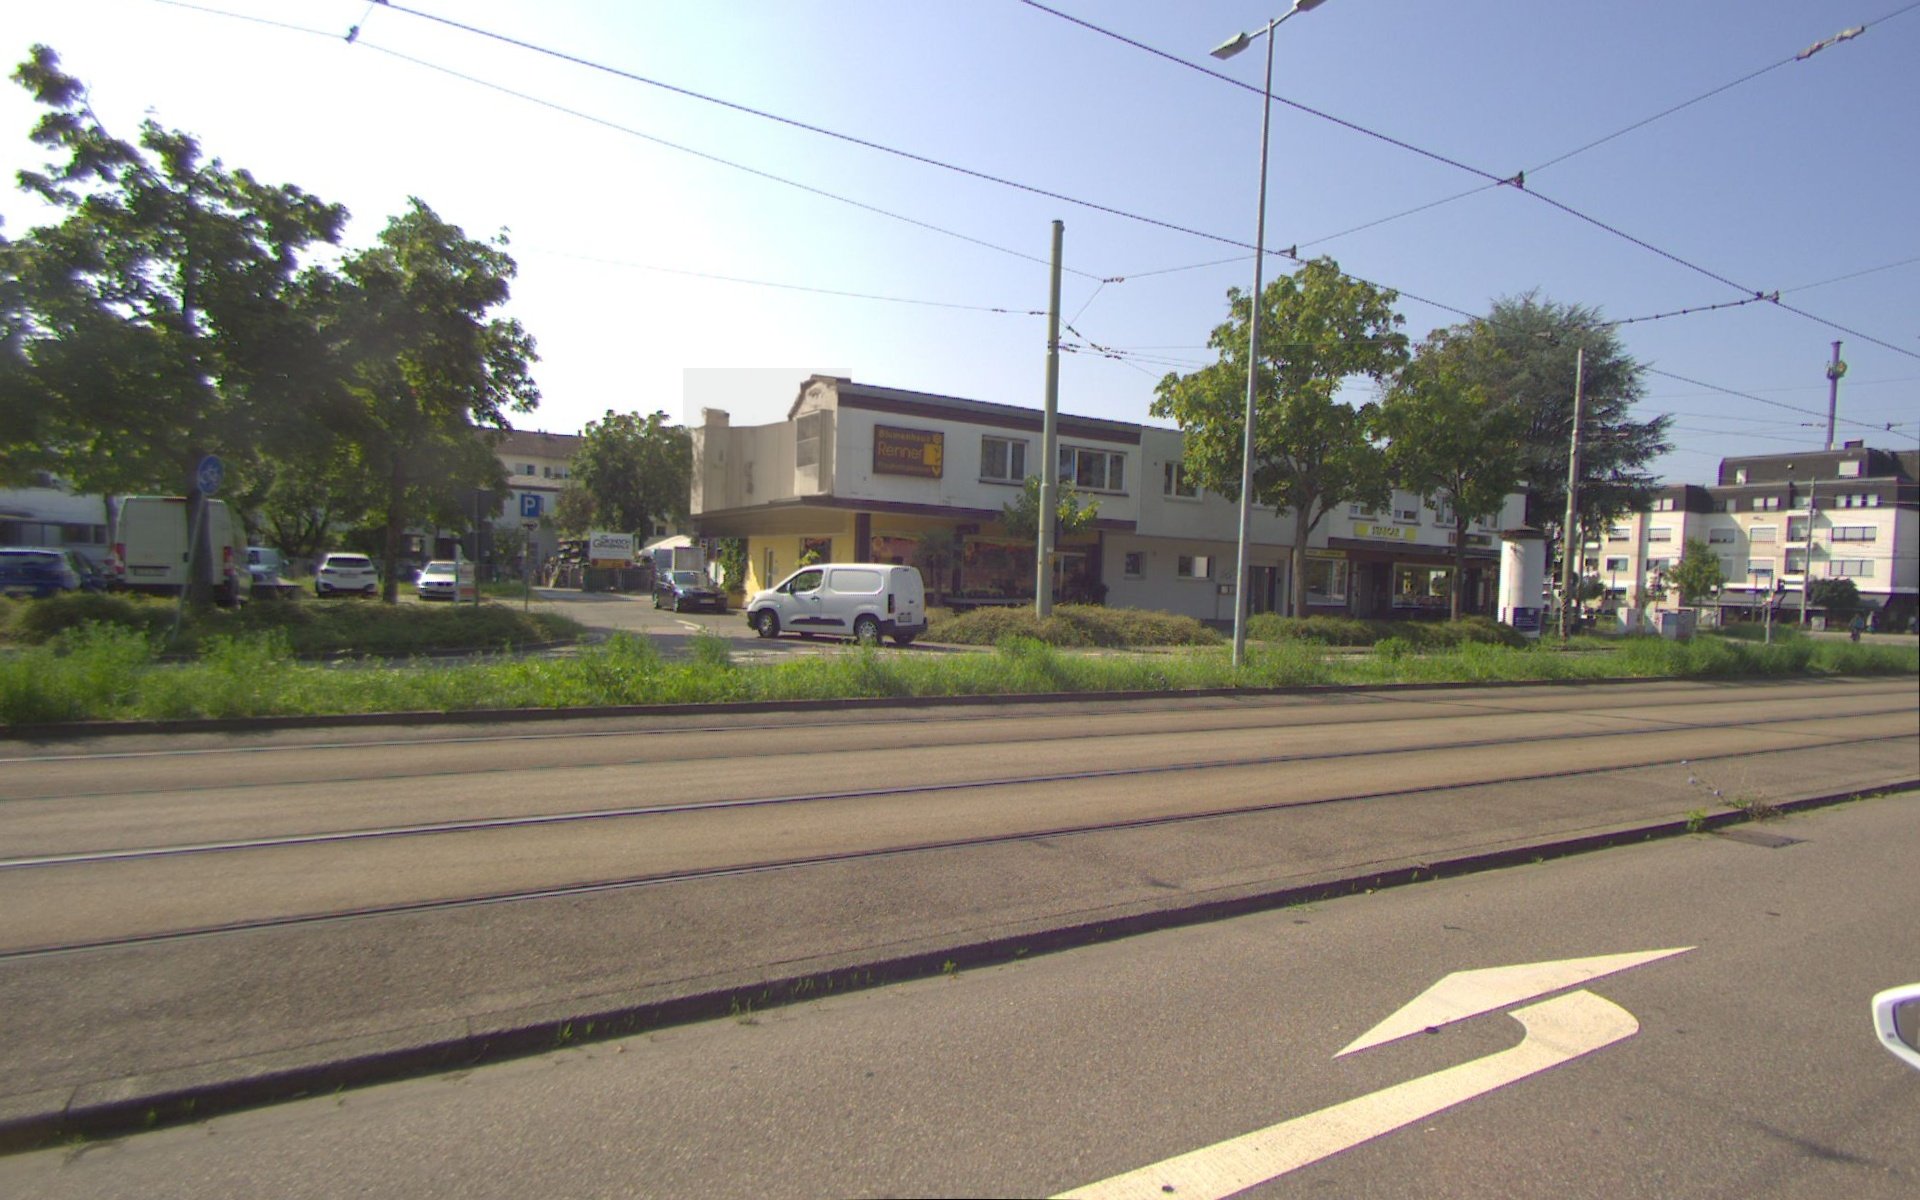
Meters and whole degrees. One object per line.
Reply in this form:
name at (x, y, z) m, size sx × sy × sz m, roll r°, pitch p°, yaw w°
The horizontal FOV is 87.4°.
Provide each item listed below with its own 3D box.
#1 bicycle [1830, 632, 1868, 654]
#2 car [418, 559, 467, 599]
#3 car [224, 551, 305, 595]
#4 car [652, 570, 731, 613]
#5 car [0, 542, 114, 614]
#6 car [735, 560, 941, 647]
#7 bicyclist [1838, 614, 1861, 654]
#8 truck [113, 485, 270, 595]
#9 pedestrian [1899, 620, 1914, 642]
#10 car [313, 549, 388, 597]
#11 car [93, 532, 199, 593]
bicycle at (47.297, 2.298, 53.454) m, size 2.236 × 1.106 × 0.712 m, roll 2°, pitch 0°, yaw -27°
car at (-19.124, -0.800, 37.216) m, size 1.471 × 1.361 × 3.520 m, roll 1°, pitch 1°, yaw -25°
car at (-23.790, -0.931, 34.466) m, size 1.469 × 1.361 × 3.698 m, roll 2°, pitch 1°, yaw -22°
car at (-9.393, -0.326, 34.949) m, size 1.596 × 1.361 × 3.891 m, roll 1°, pitch 1°, yaw -31°
car at (-20.046, -0.466, 22.099) m, size 1.615 × 1.445 × 3.387 m, roll 2°, pitch 0°, yaw -31°
car at (-2.857, 0.032, 23.496) m, size 4.335 × 1.782 × 1.988 m, roll 3°, pitch 1°, yaw 24°
bicyclist at (47.325, 1.822, 53.457) m, size 0.764 × 2.091 × 0.635 m, roll 2°, pitch 0°, yaw -26°
truck at (-17.919, -1.263, 23.722) m, size 2.234 × 2.201 × 5.462 m, roll 2°, pitch 0°, yaw -31°
pedestrian at (76.932, 2.553, 81.625) m, size 0.689 × 1.764 × 0.676 m, roll 2°, pitch 0°, yaw -29°
car at (-21.553, -0.924, 35.642) m, size 1.852 × 1.522 × 3.435 m, roll 2°, pitch 0°, yaw -25°
car at (-26.649, -1.170, 33.006) m, size 1.734 × 1.792 × 3.792 m, roll 2°, pitch 0°, yaw -24°
